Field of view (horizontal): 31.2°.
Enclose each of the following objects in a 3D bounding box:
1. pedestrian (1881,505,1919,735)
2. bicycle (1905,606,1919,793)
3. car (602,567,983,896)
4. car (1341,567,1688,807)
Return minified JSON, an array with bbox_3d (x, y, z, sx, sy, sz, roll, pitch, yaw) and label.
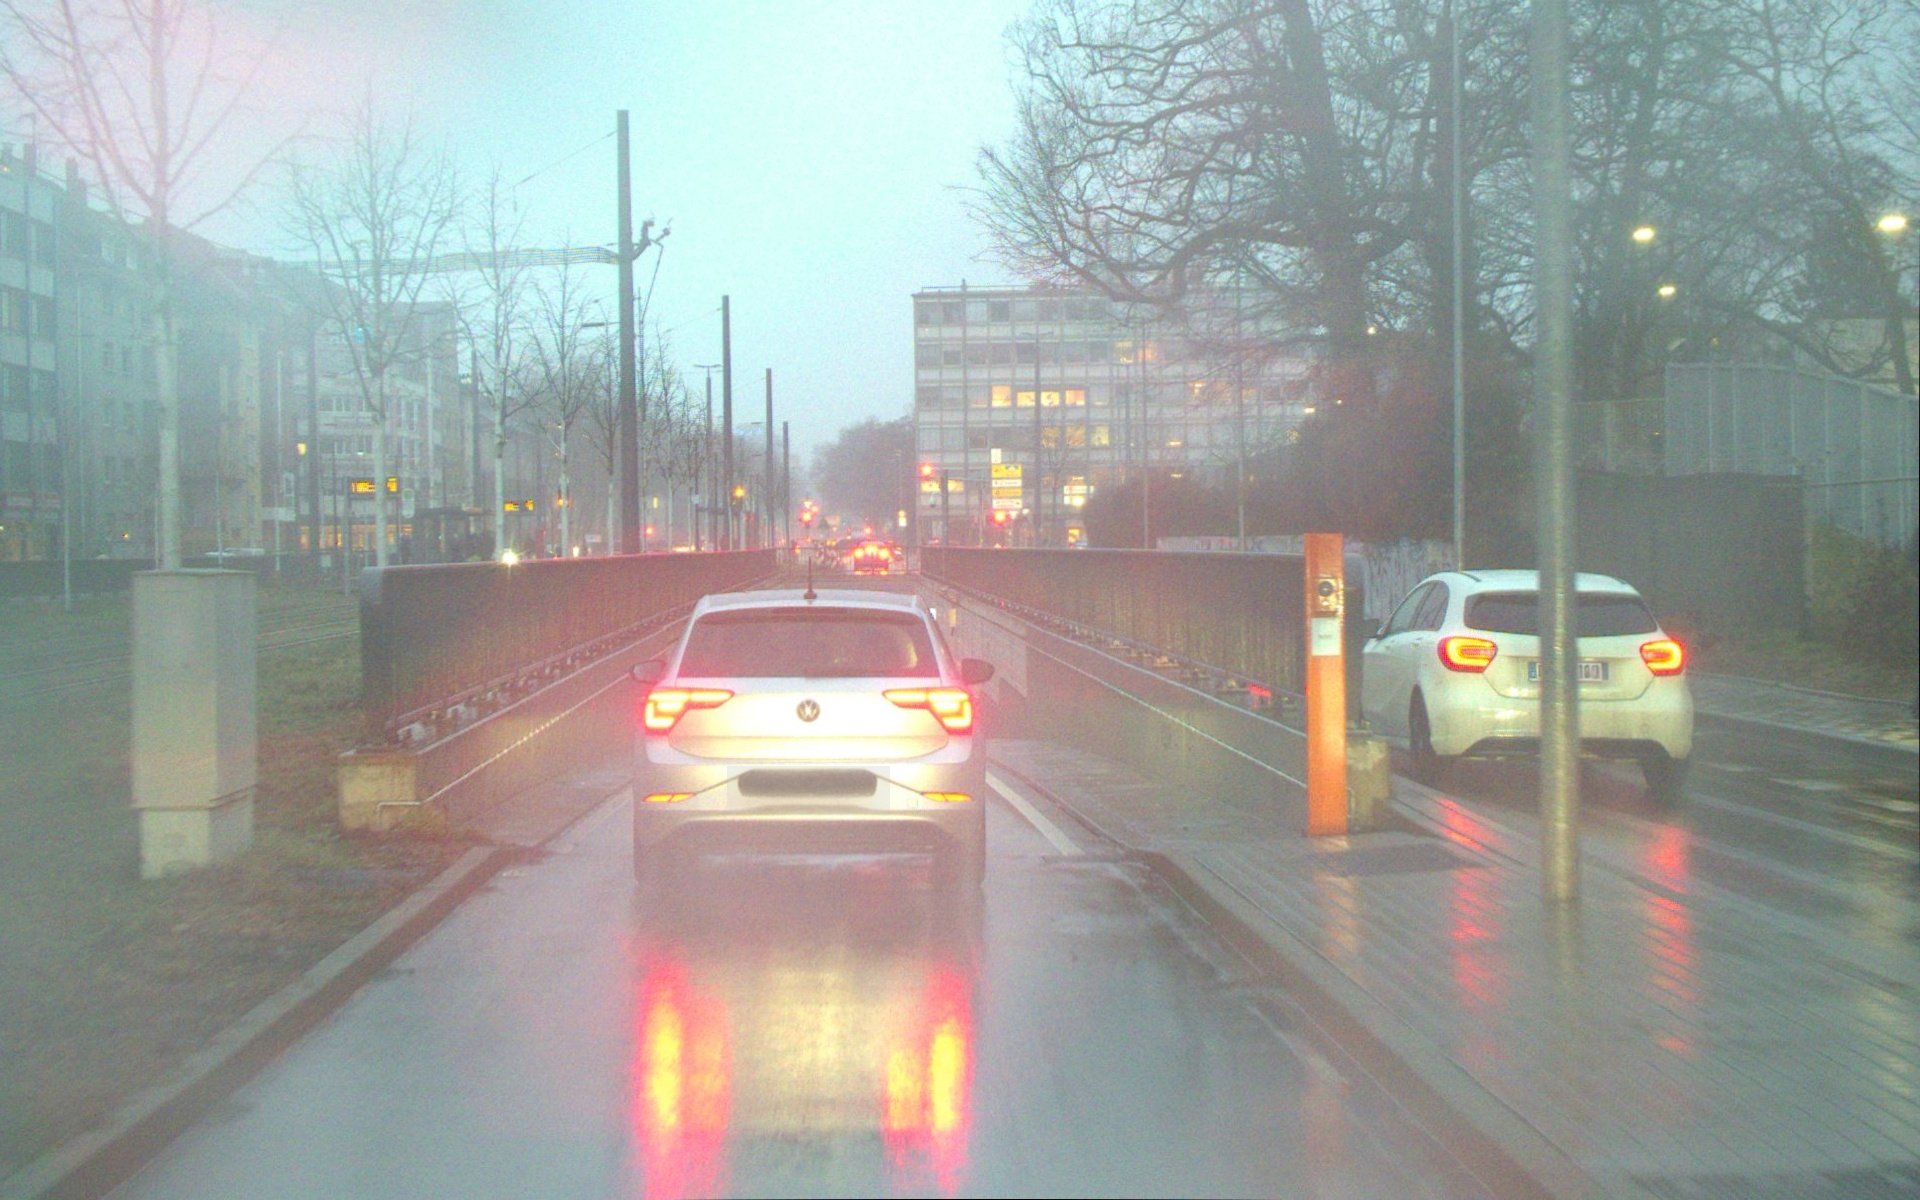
[{"bbox_3d":[8.044,0.148,28.461,0.531,1.873,0.901,-1,1,-3],"label":"pedestrian"},{"bbox_3d":[6.338,0.650,21.143,0.411,1.181,1.948,-1,1,-3],"label":"bicycle"},{"bbox_3d":[-0.770,0.587,17.809,1.722,1.474,4.000,1,0,0],"label":"car"},{"bbox_3d":[3.726,0.536,23.738,1.722,1.474,4.000,1,0,0],"label":"car"}]
